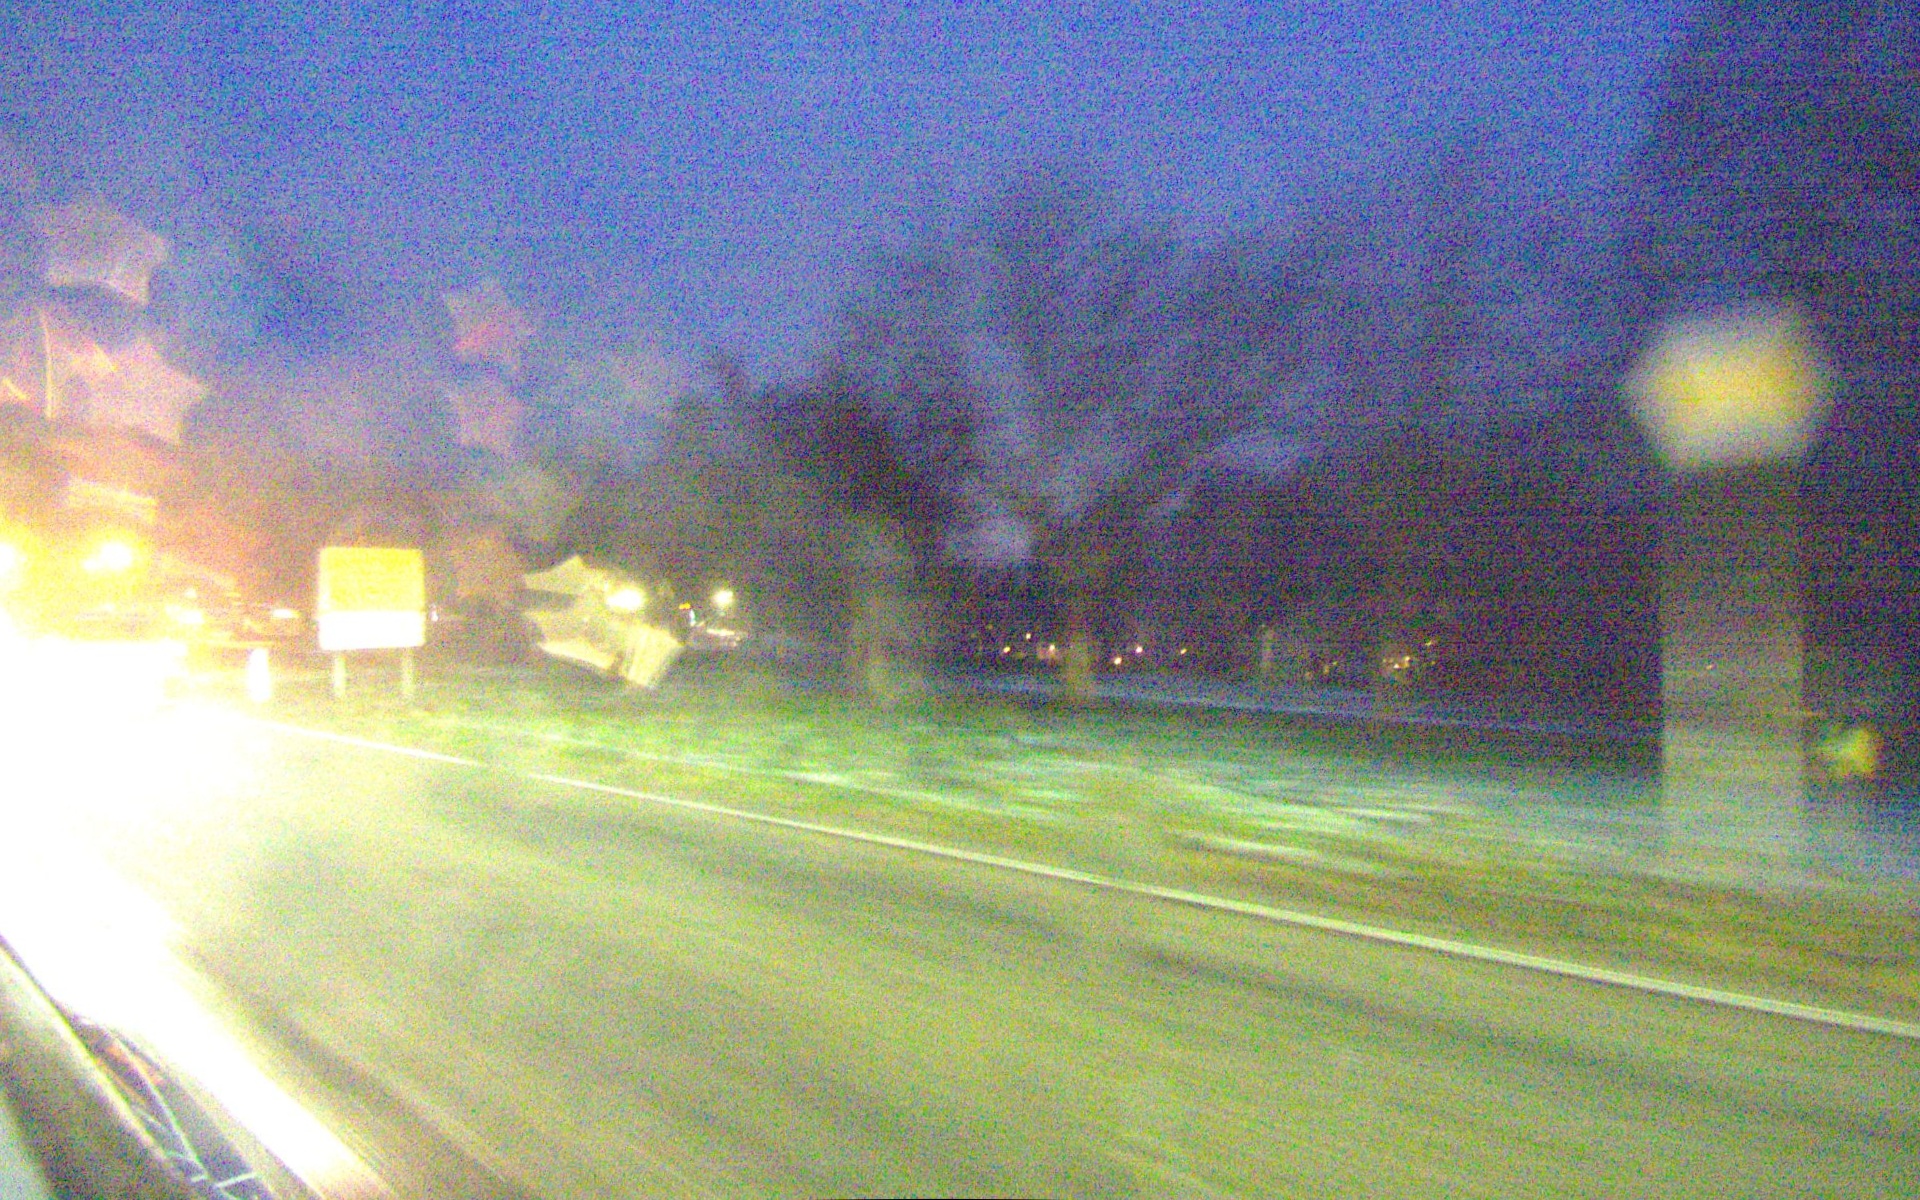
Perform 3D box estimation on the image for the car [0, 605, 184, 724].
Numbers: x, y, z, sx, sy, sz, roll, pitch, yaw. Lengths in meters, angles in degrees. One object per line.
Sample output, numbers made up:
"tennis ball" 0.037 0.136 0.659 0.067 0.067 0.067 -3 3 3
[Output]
"car" -13.537 0.945 15.664 3.728 1.627 1.624 -1 -3 40
